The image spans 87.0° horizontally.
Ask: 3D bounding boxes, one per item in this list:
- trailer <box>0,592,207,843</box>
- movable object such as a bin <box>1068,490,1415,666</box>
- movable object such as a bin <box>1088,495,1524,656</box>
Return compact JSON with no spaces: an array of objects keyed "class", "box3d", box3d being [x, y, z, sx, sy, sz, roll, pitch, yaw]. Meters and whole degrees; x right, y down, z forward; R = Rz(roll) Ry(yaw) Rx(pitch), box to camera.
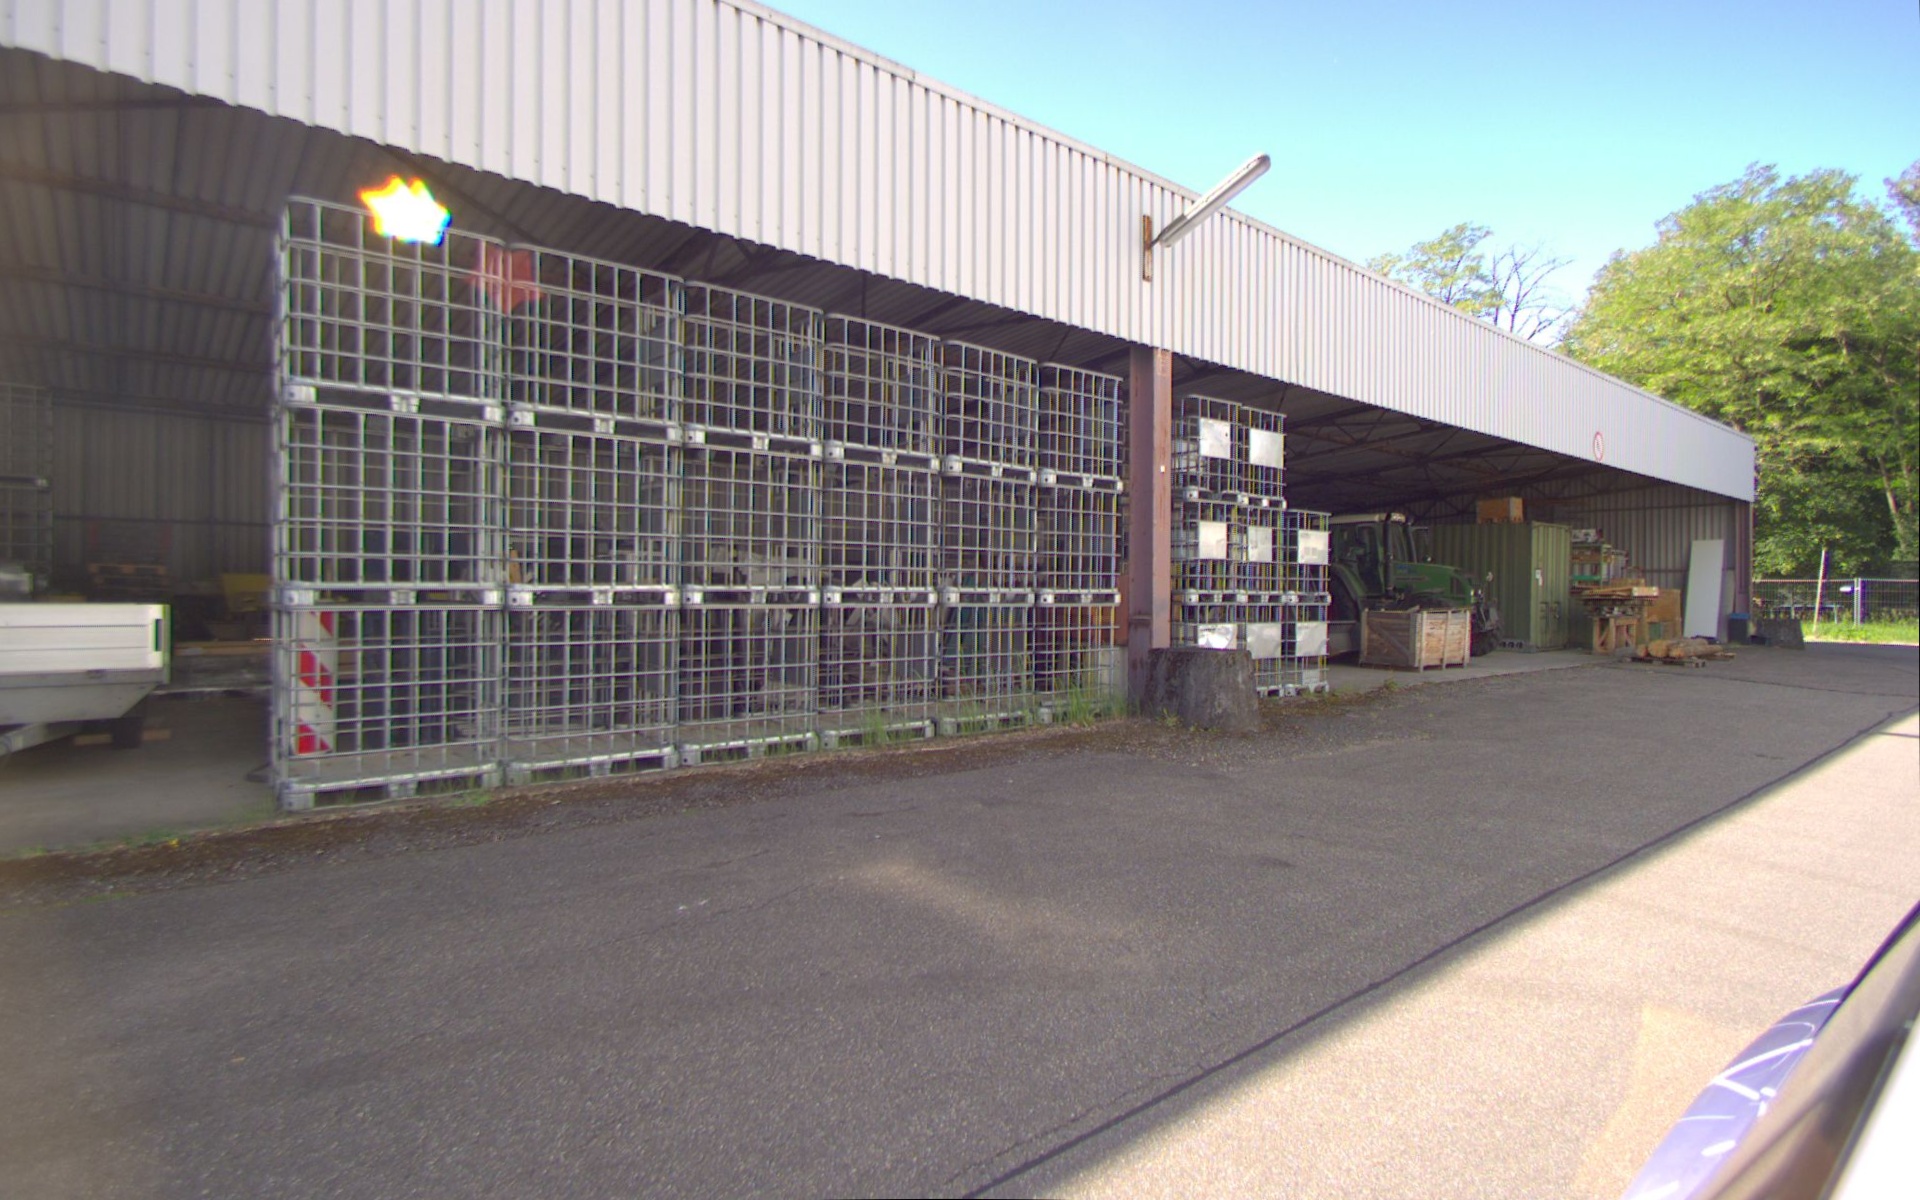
[{"class":"trailer","box3d":[-6.765,0.552,6.933,2.104,1.147,5.857,0,1,-41]},{"class":"movable object such as a bin","box3d":[5.417,-0.405,20.376,2.962,2.947,6.199,0,0,-39]},{"class":"movable object such as a bin","box3d":[7.354,-0.498,23.124,3.154,2.947,9.213,0,1,-39]}]
